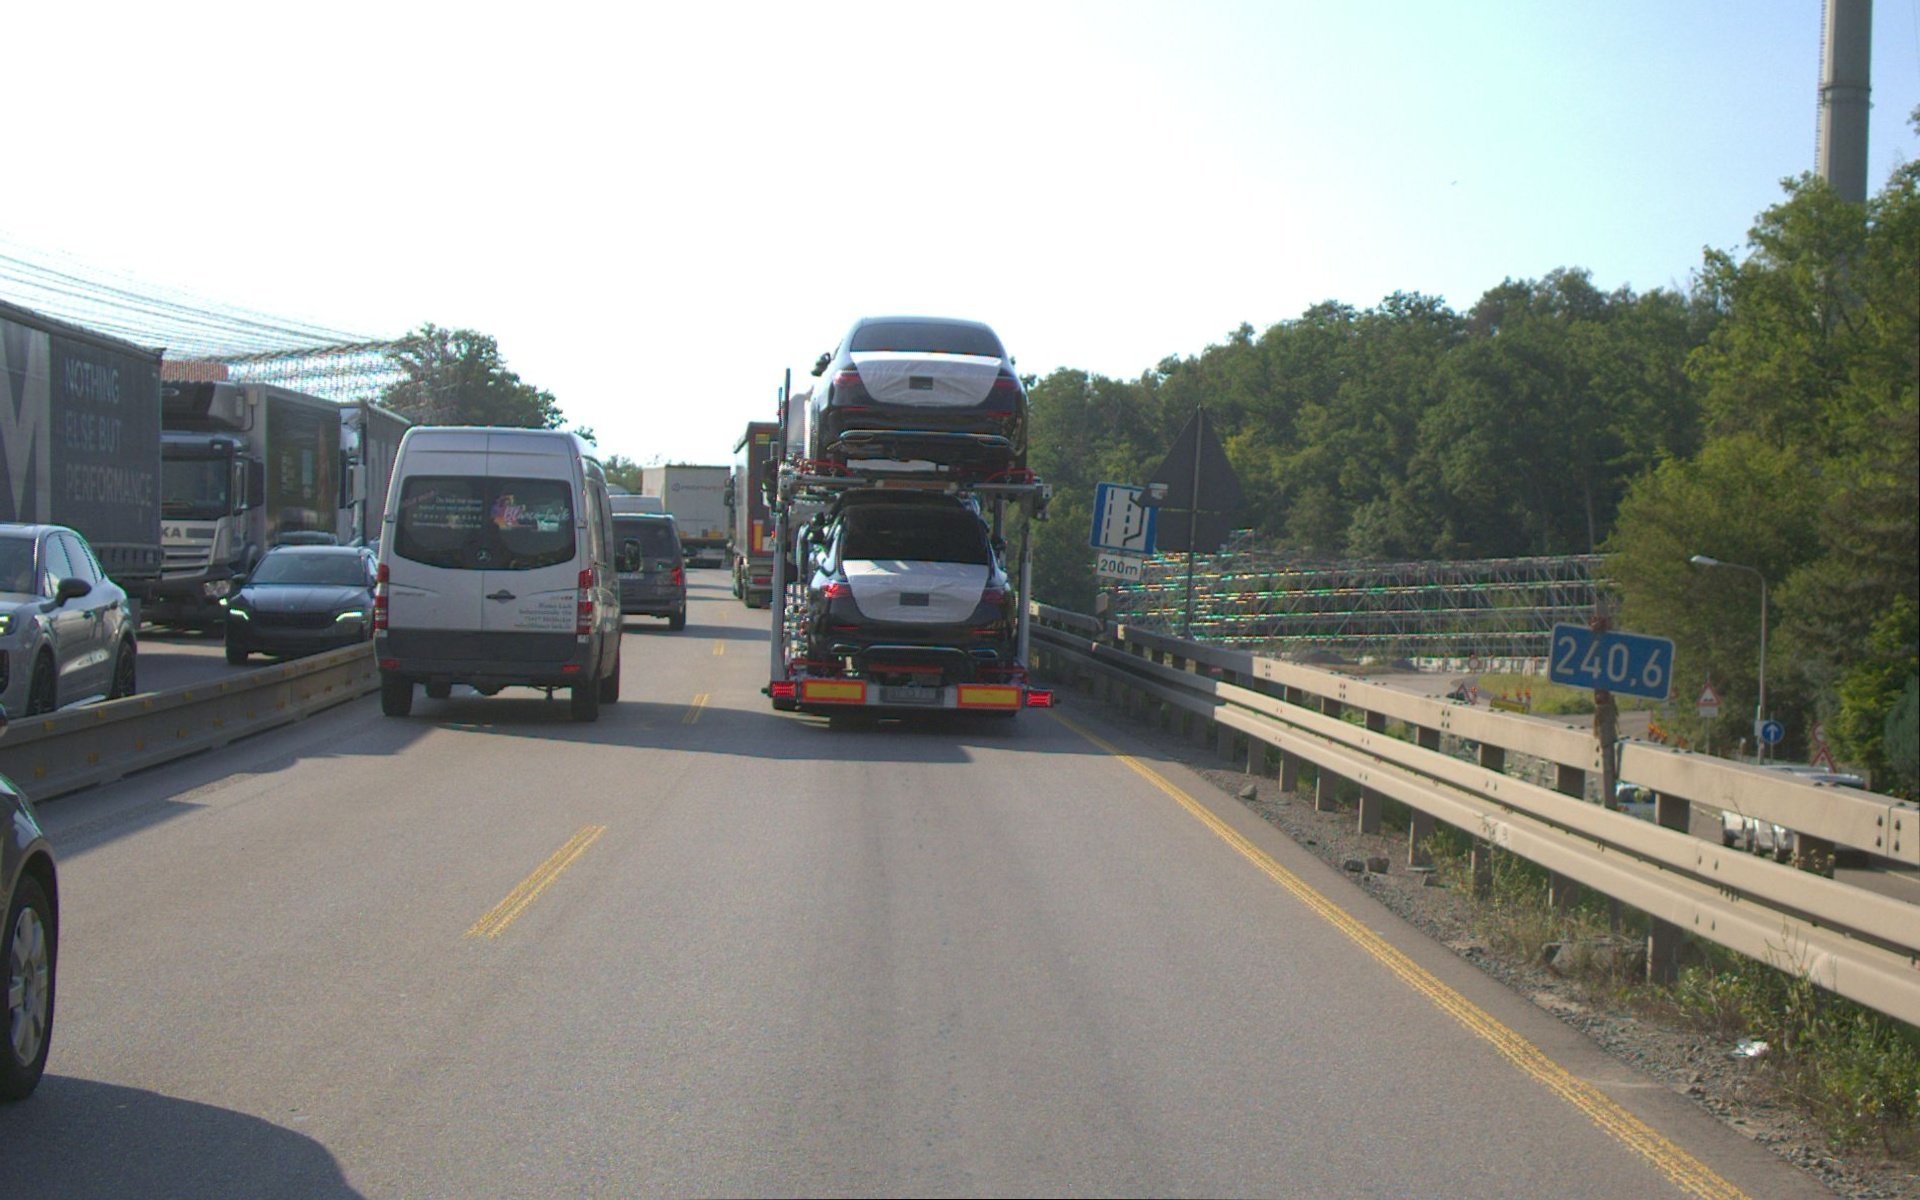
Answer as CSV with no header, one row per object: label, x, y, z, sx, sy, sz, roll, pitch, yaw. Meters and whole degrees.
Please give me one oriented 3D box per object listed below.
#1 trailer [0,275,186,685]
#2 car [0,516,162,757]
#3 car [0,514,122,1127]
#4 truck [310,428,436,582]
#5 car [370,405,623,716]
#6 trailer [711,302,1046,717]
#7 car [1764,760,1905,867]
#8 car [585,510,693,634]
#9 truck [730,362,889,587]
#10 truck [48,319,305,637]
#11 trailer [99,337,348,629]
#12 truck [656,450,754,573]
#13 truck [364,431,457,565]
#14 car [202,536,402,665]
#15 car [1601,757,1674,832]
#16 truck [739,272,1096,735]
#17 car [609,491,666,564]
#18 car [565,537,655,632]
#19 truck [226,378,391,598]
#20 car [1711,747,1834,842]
trailer,-11.361,-1.269,38.542,2.775,4.189,13.835,1,0,-3
car,-7.570,0.182,26.129,2.008,1.649,4.975,4,0,-3
car,-3.303,0.559,8.000,1.701,1.581,4.147,1,0,-1
truck,-15.061,-2.405,88.585,2.748,3.792,7.113,0,1,-6
car,-4.256,-0.358,32.158,1.979,2.675,4.147,1,0,-3
trailer,-1.339,-0.939,41.080,2.874,3.980,15.282,1,0,-5
car,17.475,4.245,68.883,1.996,1.910,4.862,1,-1,6
car,-5.556,-0.477,59.916,1.528,2.007,4.000,4,0,-2
truck,-3.536,-2.841,78.541,3.228,4.661,11.697,2,2,-3
truck,-11.813,-1.790,52.241,2.919,4.499,5.028,2,0,-4
trailer,-12.138,-1.862,57.259,2.911,4.450,7.153,2,0,-4
truck,-10.291,-3.649,139.724,3.648,4.661,11.697,2,2,-4
truck,-17.584,-3.215,110.308,2.700,4.126,5.796,1,0,-8
car,-8.238,0.021,43.397,1.774,1.452,4.815,3,0,-3
car,15.891,4.547,80.757,1.526,1.456,4.266,1,0,9
truck,-0.551,-0.854,32.759,2.869,3.966,5.772,1,0,-5
car,-9.476,-2.117,101.153,1.528,2.007,4.001,4,0,-5
car,-7.581,-0.327,74.780,1.832,1.957,4.900,1,0,-5
truck,-12.618,-2.135,66.930,2.748,4.101,5.032,0,1,-6
car,18.569,4.425,78.773,1.862,1.979,5.051,1,-1,3
